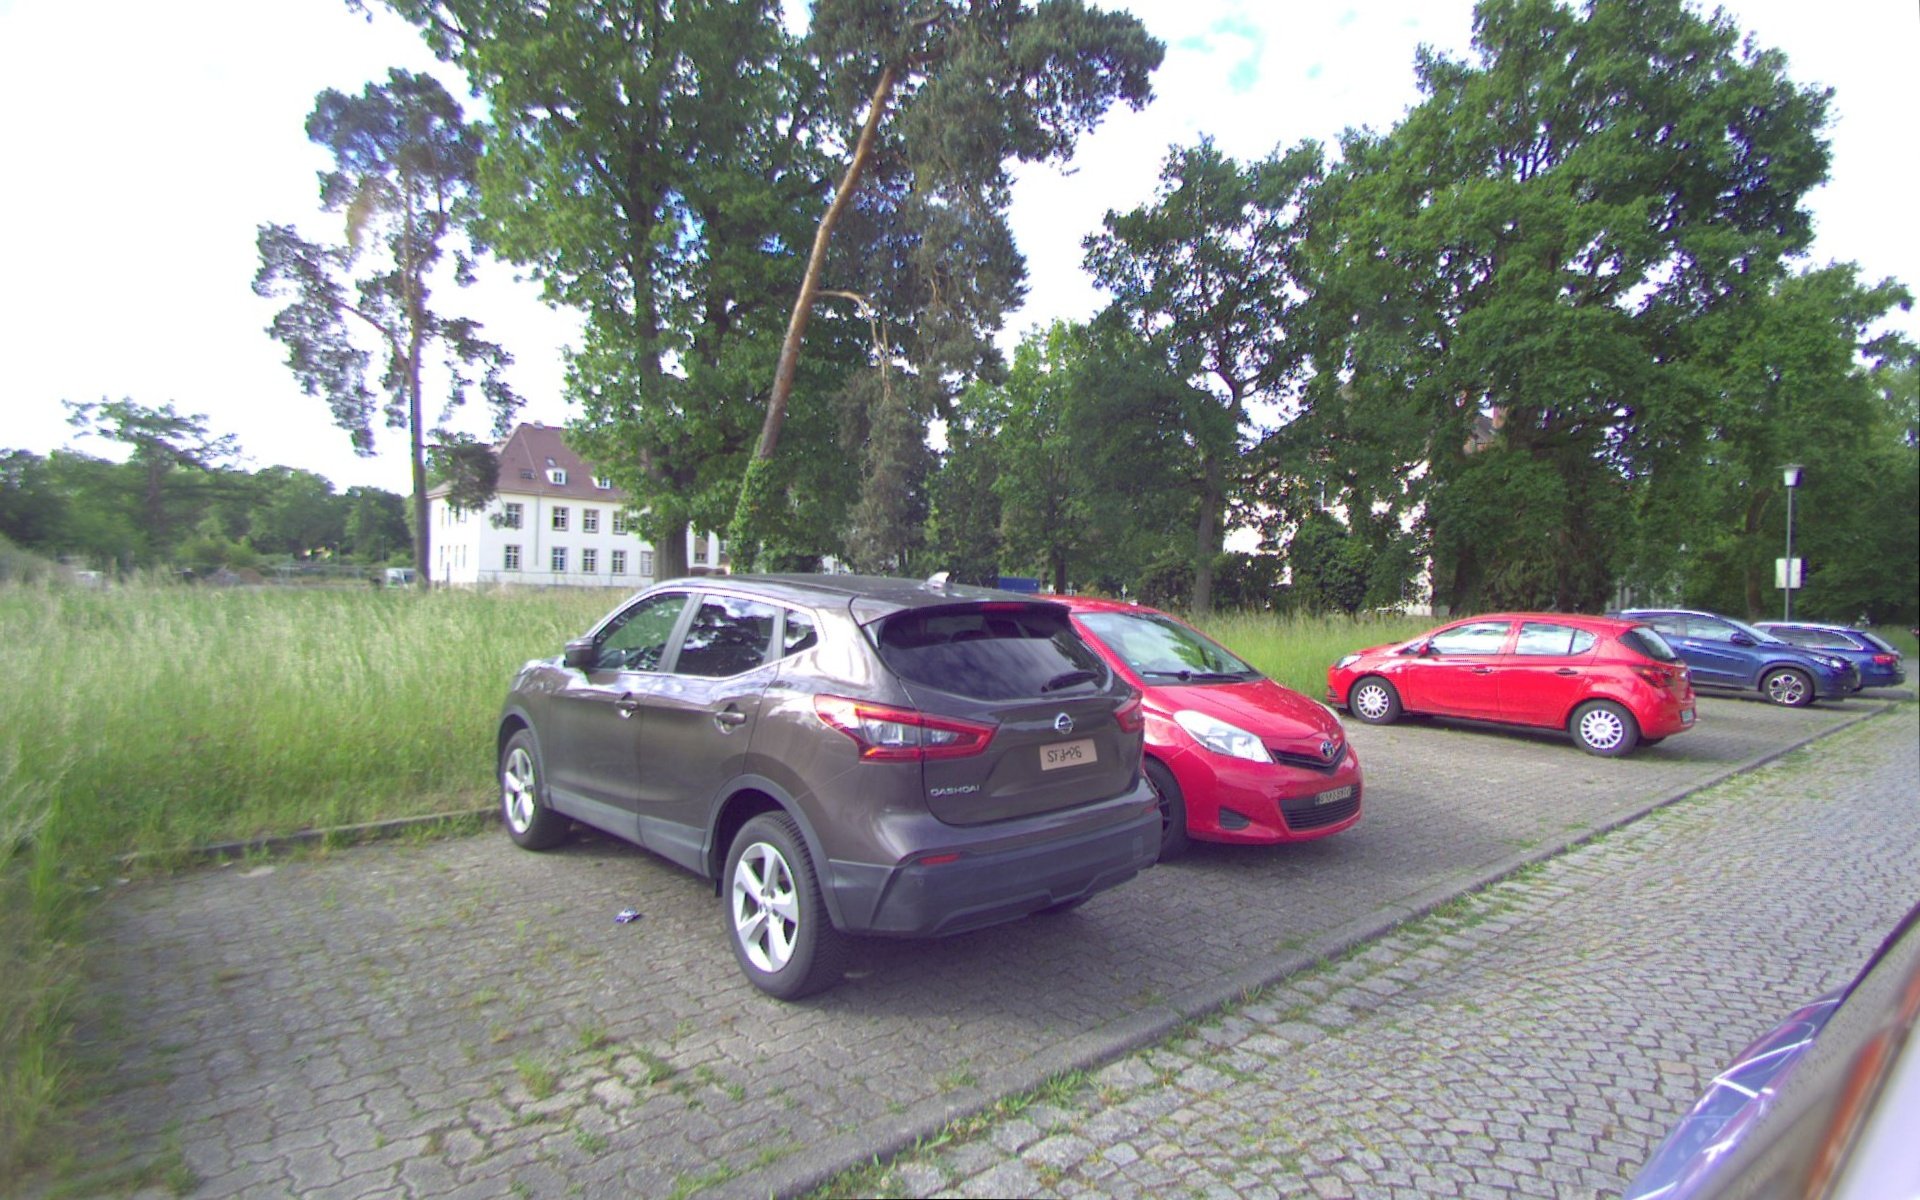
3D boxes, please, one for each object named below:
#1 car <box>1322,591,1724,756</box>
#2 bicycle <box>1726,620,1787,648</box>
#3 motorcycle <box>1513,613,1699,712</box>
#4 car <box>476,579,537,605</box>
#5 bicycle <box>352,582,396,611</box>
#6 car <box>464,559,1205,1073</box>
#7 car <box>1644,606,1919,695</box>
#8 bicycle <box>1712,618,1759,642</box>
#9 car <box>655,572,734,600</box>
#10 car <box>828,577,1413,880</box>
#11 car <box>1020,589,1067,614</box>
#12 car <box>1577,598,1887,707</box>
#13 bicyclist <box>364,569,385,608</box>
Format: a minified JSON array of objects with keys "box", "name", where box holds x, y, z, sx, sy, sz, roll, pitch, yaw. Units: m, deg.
[{"box":[6.591,0.735,12.149,1.708,1.524,3.845,2,1,-42],"name":"car"},{"box":[35.044,1.476,44.560,1.999,1.101,0.474,2,3,27],"name":"bicycle"},{"box":[9.662,0.886,15.222,2.265,1.291,0.596,3,1,44],"name":"motorcycle"},{"box":[-37.602,-0.645,83.819,5.811,2.039,2.450,0,0,41],"name":"car"},{"box":[-30.569,-0.164,52.807,1.900,1.498,0.654,0,0,-41],"name":"bicycle"},{"box":[-0.941,0.643,5.191,1.733,1.600,3.953,1,0,-44],"name":"car"},{"box":[17.753,1.009,21.898,1.860,1.483,4.518,2,2,-38],"name":"car"},{"box":[38.375,1.481,50.114,1.734,1.101,0.548,2,3,27],"name":"bicycle"},{"box":[-16.368,-0.839,62.574,4.323,1.723,1.972,0,0,-41],"name":"car"},{"box":[0.892,0.645,7.313,1.708,1.537,3.994,1,0,-41],"name":"car"},{"box":[7.142,0.106,86.527,4.012,2.039,1.783,0,0,-41],"name":"car"},{"box":[14.207,0.876,18.822,1.862,1.593,4.271,2,1,-41],"name":"car"},{"box":[-30.559,-0.605,52.808,0.833,2.039,0.658,1,-1,-41],"name":"bicyclist"}]
